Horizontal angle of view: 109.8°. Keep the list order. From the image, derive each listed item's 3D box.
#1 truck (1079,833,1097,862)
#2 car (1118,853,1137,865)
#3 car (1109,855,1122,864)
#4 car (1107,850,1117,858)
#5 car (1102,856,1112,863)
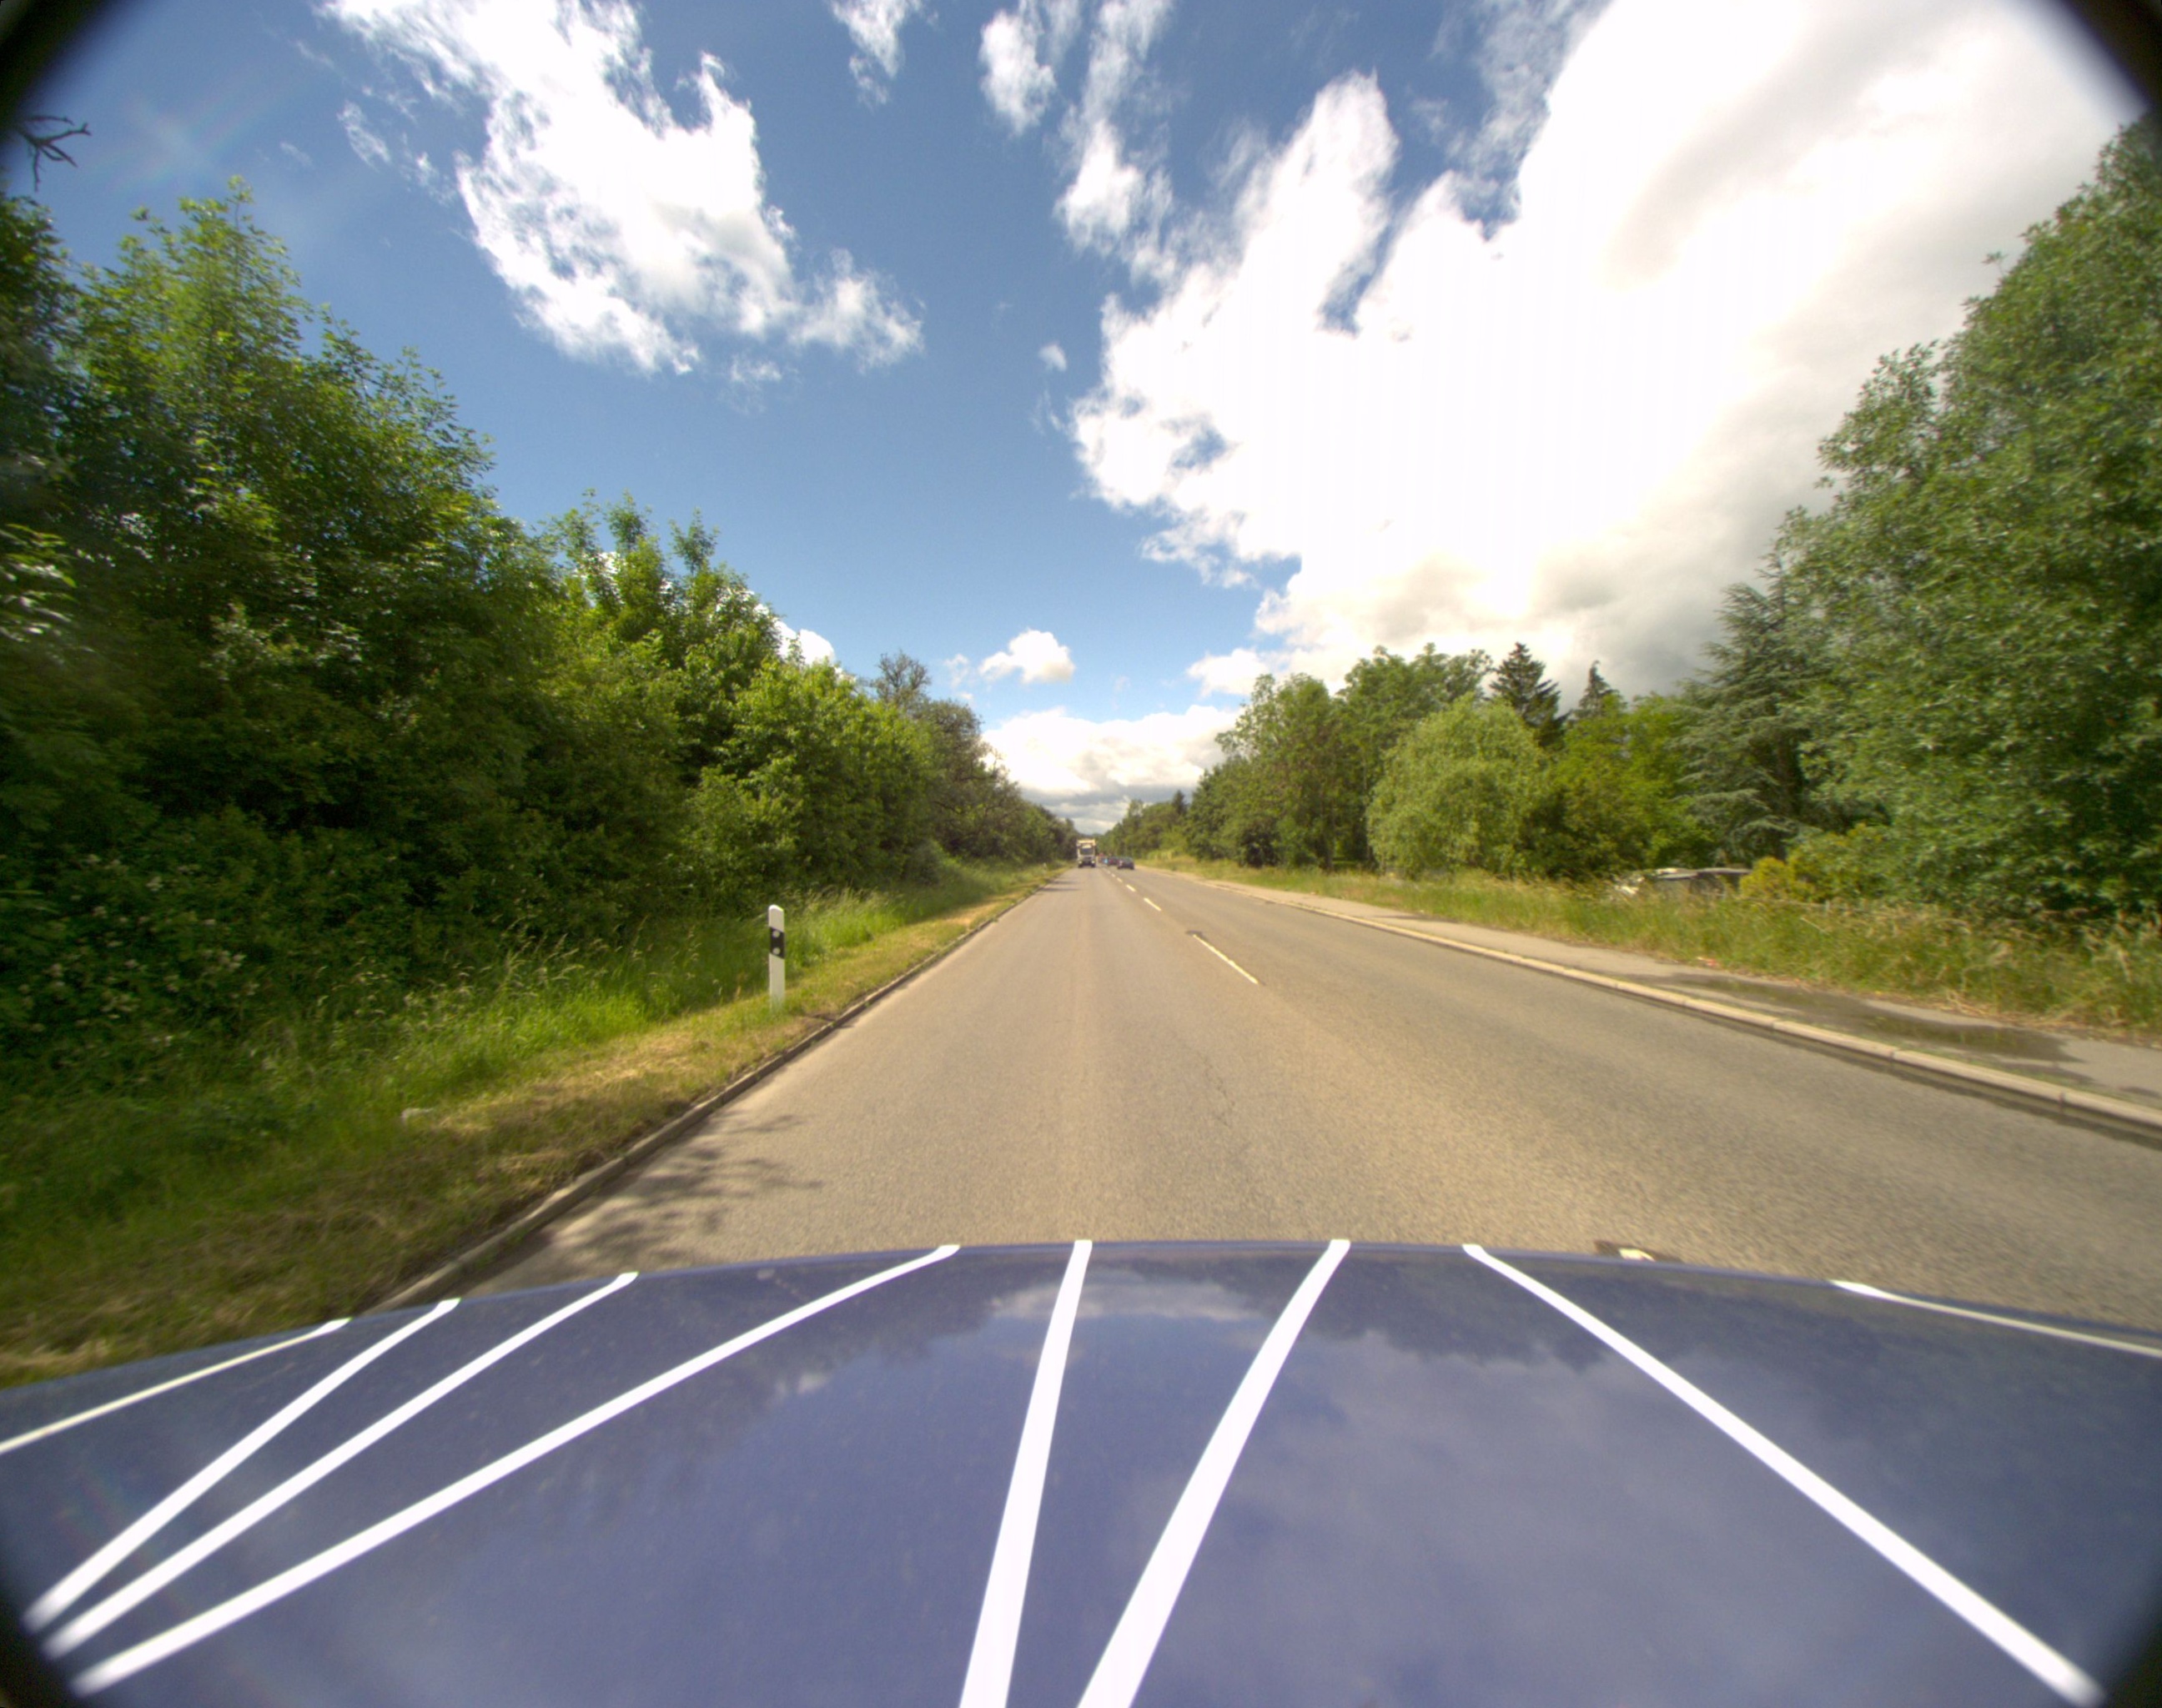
[{"bbox_3d":[0.934,-0.853,108.155,2.306,3.789,8.183,-3,0,0],"label":"truck"},{"bbox_3d":[5.394,0.565,88.761,1.789,1.326,4.622,1,0,-1],"label":"car"},{"bbox_3d":[5.474,0.851,120.931,1.889,1.483,4.717,1,0,-1],"label":"car"},{"bbox_3d":[6.053,0.024,148.199,1.789,1.438,2.966,1,0,-1],"label":"car"},{"bbox_3d":[5.654,1.182,166.370,1.789,1.438,4.452,1,0,-1],"label":"car"}]
